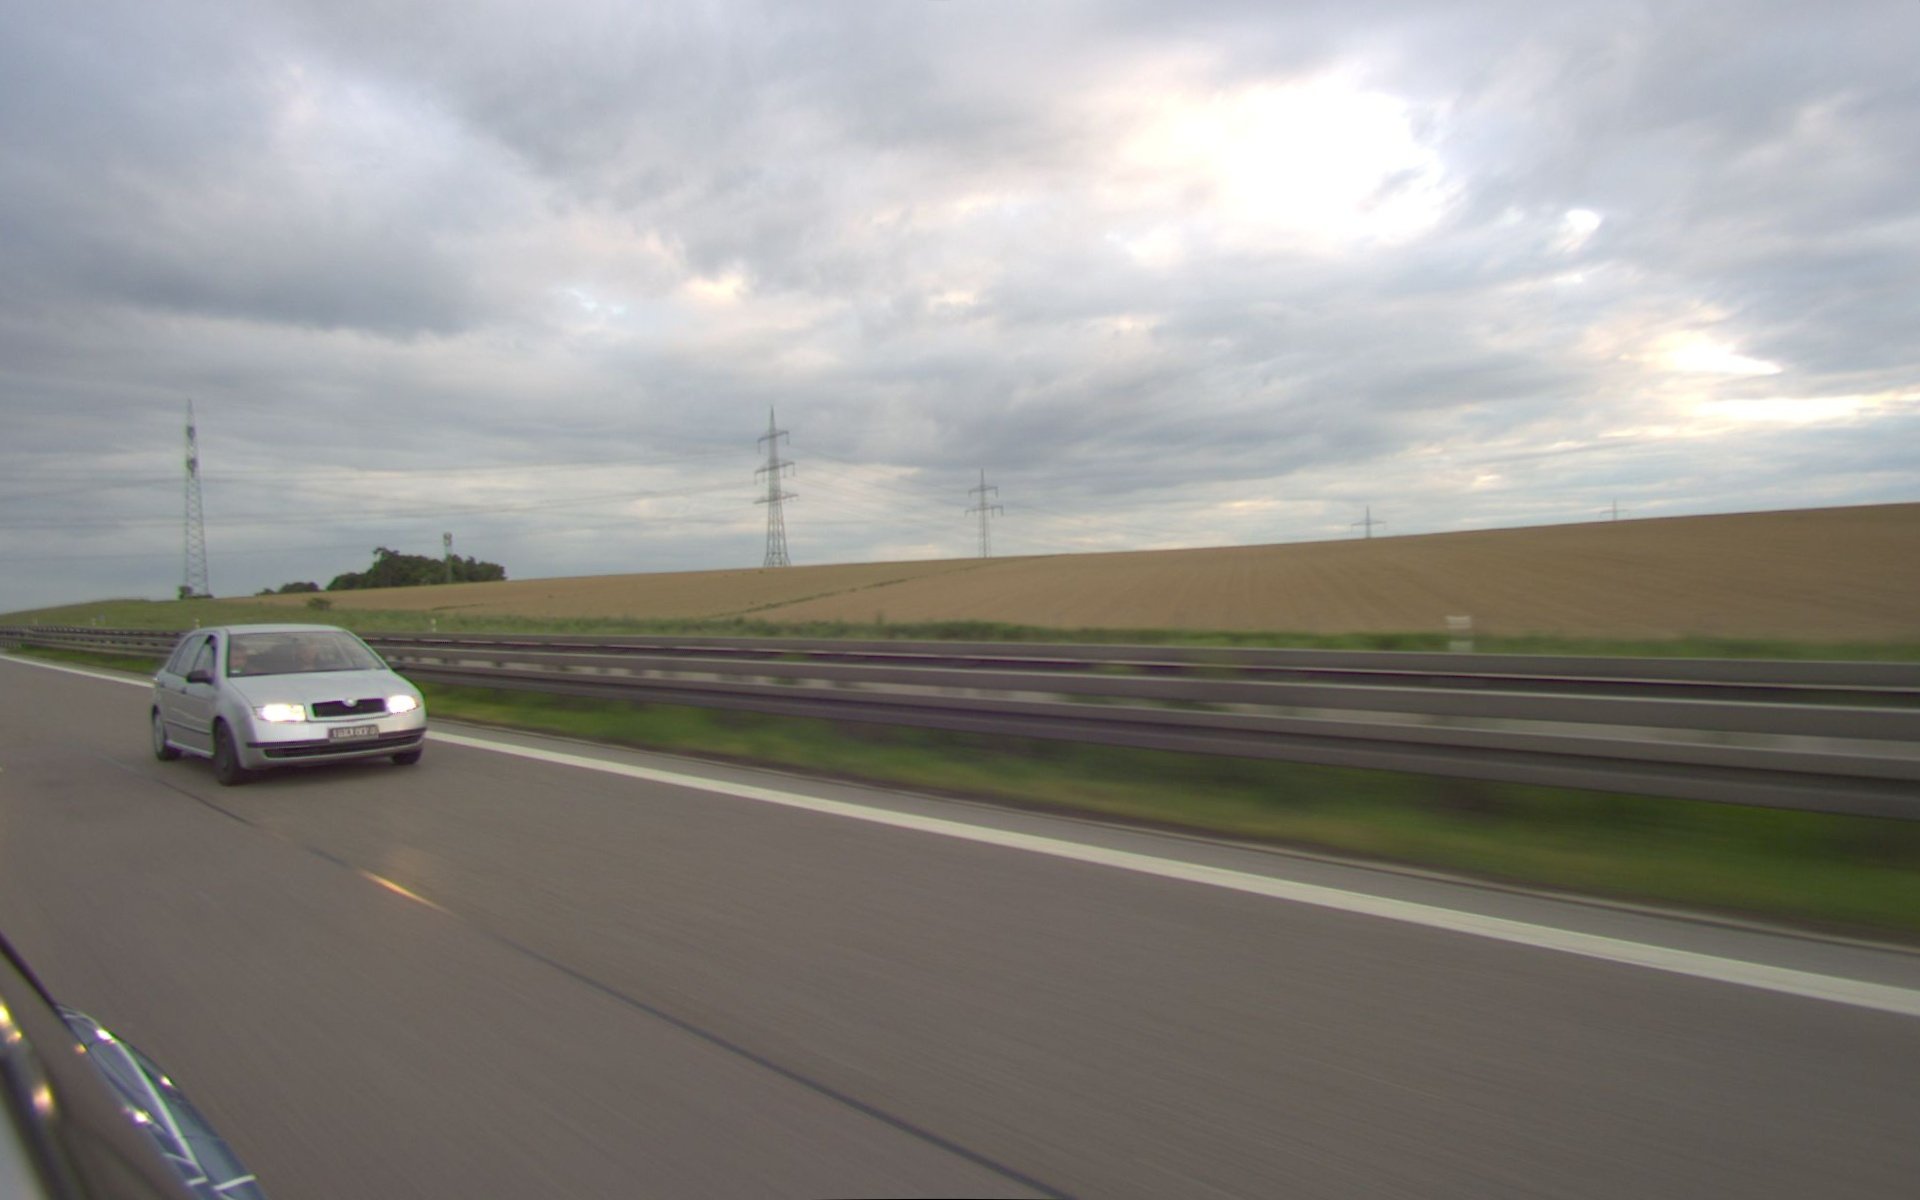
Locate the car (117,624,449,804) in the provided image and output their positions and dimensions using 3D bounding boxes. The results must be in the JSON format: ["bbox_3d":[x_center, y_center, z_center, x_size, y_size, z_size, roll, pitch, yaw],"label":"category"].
[{"bbox_3d":[-6.940,0.964,10.159,4.598,1.400,1.572,-1,-1,40],"label":"car"}]
